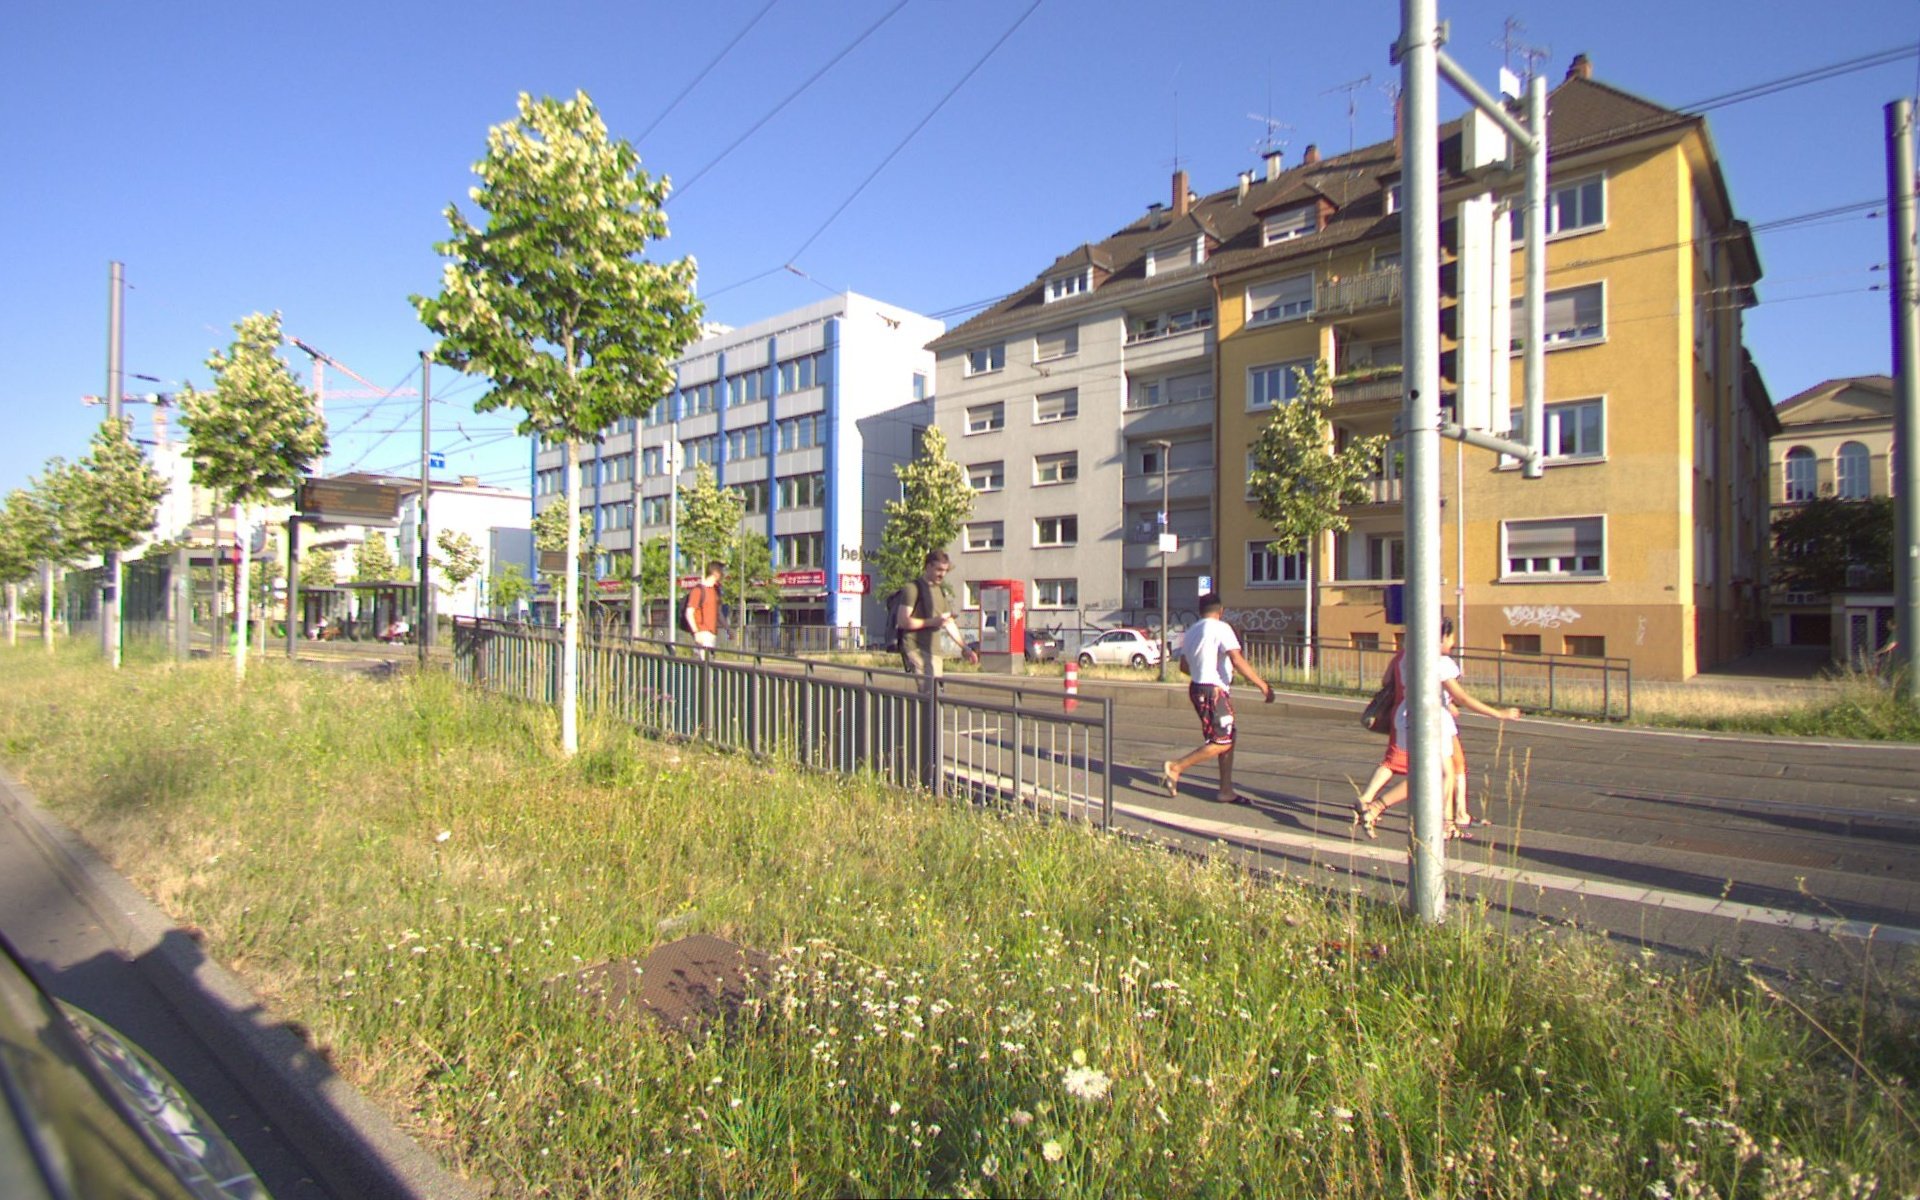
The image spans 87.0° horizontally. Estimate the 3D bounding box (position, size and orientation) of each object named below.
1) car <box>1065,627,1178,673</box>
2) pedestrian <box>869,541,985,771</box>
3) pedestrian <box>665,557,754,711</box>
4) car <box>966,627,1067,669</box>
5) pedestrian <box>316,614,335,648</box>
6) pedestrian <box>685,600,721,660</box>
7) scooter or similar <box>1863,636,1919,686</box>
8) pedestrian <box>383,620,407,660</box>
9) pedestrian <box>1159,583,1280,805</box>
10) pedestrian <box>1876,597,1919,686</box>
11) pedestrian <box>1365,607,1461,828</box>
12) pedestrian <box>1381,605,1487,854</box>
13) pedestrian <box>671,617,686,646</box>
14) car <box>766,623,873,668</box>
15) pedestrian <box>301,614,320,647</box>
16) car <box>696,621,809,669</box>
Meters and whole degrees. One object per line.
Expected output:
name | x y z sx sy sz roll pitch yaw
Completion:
car | 5.934 1.814 37.364 3.672 1.519 1.861 -1 0 41
pedestrian | -0.281 0.456 8.738 0.620 1.878 0.776 -1 0 44
pedestrian | -2.912 0.378 11.772 0.620 1.711 0.776 -1 0 44
car | 2.223 1.862 40.505 3.672 1.519 1.861 -1 0 41
pedestrian | -31.896 1.554 50.849 0.650 1.705 0.773 -1 0 -43
pedestrian | -7.378 0.857 29.006 0.620 1.685 0.776 -1 0 44
scooter or similar | 20.134 1.303 21.528 0.480 1.013 1.331 -1 0 -42
pedestrian | -24.609 1.736 44.098 0.771 1.705 0.651 -1 0 39
pedestrian | 1.964 0.656 7.634 0.618 1.560 0.778 1 1 37
pedestrian | 20.144 0.881 21.655 0.553 1.861 0.724 -1 0 -42
pedestrian | 3.137 0.779 7.046 0.520 1.442 0.634 -1 0 18
pedestrian | 2.967 0.773 6.379 0.521 1.467 0.634 -1 0 19
pedestrian | -17.116 1.921 61.561 0.636 1.759 0.599 -1 0 -42
car | -5.267 1.649 37.702 3.941 1.519 1.861 -1 0 41
pedestrian | -33.616 1.576 52.385 0.772 1.705 0.651 -1 0 44
car | -7.231 1.520 35.146 3.941 1.519 1.861 -1 0 41
